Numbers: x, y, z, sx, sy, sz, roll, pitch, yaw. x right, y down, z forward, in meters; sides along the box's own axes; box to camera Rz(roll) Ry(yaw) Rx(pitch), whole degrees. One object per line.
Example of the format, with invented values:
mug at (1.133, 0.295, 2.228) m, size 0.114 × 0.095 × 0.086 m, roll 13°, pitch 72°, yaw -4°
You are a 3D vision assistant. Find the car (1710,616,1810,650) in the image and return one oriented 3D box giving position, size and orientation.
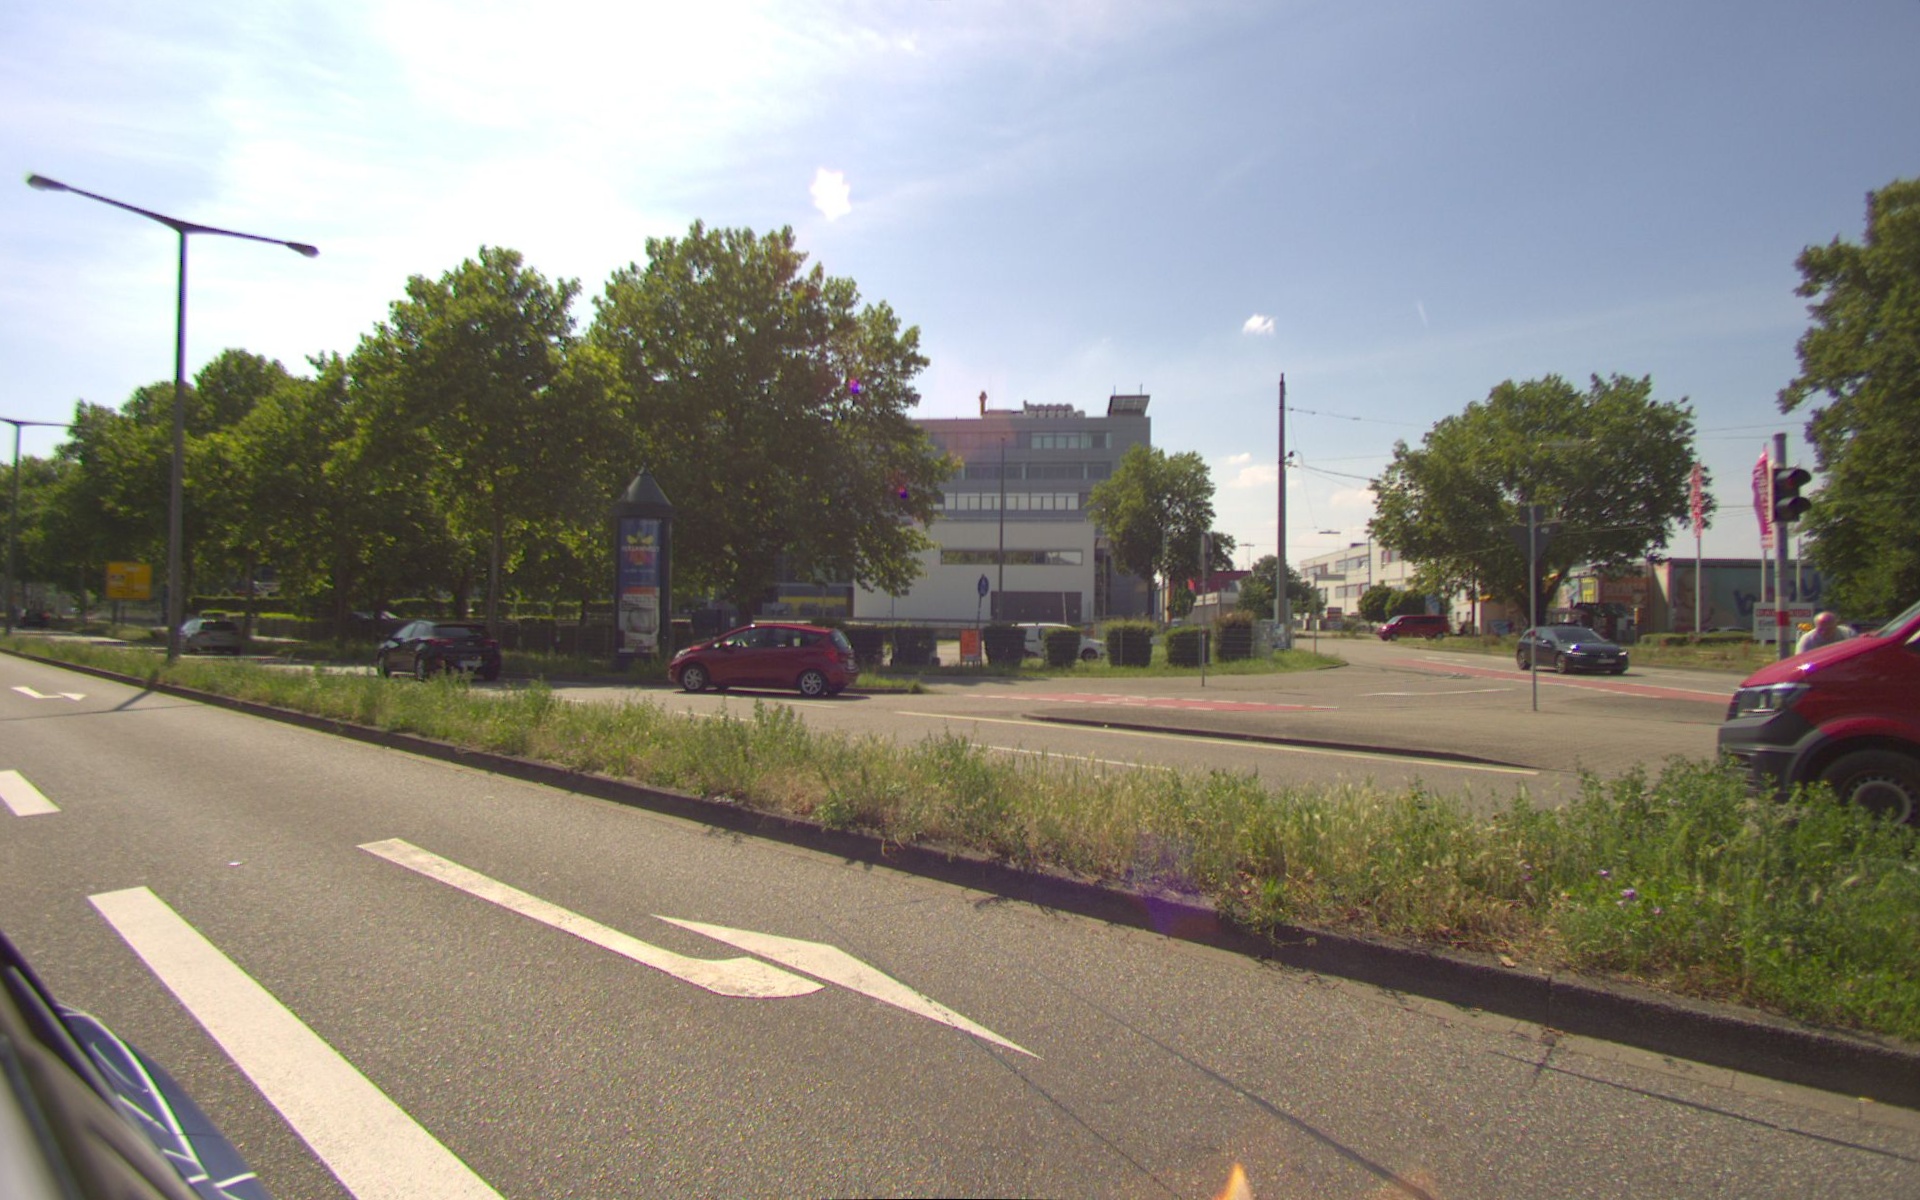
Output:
car at (55.132, 2.269, 69.835) m, size 4.981 × 2.295 × 2.147 m, roll 0°, pitch -2°, yaw 7°

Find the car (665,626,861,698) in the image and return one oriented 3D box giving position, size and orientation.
car at (-4.104, 1.298, 21.467) m, size 3.720 × 1.445 × 1.851 m, roll 0°, pitch -3°, yaw 6°

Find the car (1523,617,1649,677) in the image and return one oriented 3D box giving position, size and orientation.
car at (19.137, 1.414, 31.142) m, size 1.979 × 1.712 × 3.986 m, roll 0°, pitch -2°, yaw 11°

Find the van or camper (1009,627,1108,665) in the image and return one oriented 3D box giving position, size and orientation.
van or camper at (4.486, 2.110, 46.756) m, size 4.453 × 1.705 × 1.998 m, roll 0°, pitch -1°, yaw 4°

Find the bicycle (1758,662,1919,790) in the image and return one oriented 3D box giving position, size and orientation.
bicycle at (8.997, 1.208, 10.228) m, size 0.520 × 1.072 × 2.157 m, roll 0°, pitch -1°, yaw 11°

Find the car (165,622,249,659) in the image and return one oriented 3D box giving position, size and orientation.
car at (-30.934, 1.659, 41.534) m, size 4.219 × 1.433 × 1.820 m, roll -1°, pitch -4°, yaw 41°

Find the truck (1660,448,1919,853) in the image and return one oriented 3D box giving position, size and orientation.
truck at (8.129, 0.291, 5.201) m, size 2.112 × 2.494 × 7.140 m, roll 1°, pitch -2°, yaw -40°

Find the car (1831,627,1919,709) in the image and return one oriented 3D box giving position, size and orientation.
car at (17.992, 1.215, 17.951) m, size 1.824 × 1.460 × 3.993 m, roll 0°, pitch -2°, yaw 5°

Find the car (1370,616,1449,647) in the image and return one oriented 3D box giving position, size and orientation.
car at (34.108, 2.394, 76.885) m, size 4.976 × 2.295 × 2.149 m, roll 0°, pitch -2°, yaw 4°

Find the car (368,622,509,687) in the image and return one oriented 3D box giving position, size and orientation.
car at (-12.921, 1.303, 24.990) m, size 3.894 × 1.433 × 1.819 m, roll 0°, pitch -3°, yaw 42°

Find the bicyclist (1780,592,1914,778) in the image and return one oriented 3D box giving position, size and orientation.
bicyclist at (8.985, 0.830, 10.284) m, size 0.698 × 1.802 × 0.765 m, roll 0°, pitch -2°, yaw 12°
